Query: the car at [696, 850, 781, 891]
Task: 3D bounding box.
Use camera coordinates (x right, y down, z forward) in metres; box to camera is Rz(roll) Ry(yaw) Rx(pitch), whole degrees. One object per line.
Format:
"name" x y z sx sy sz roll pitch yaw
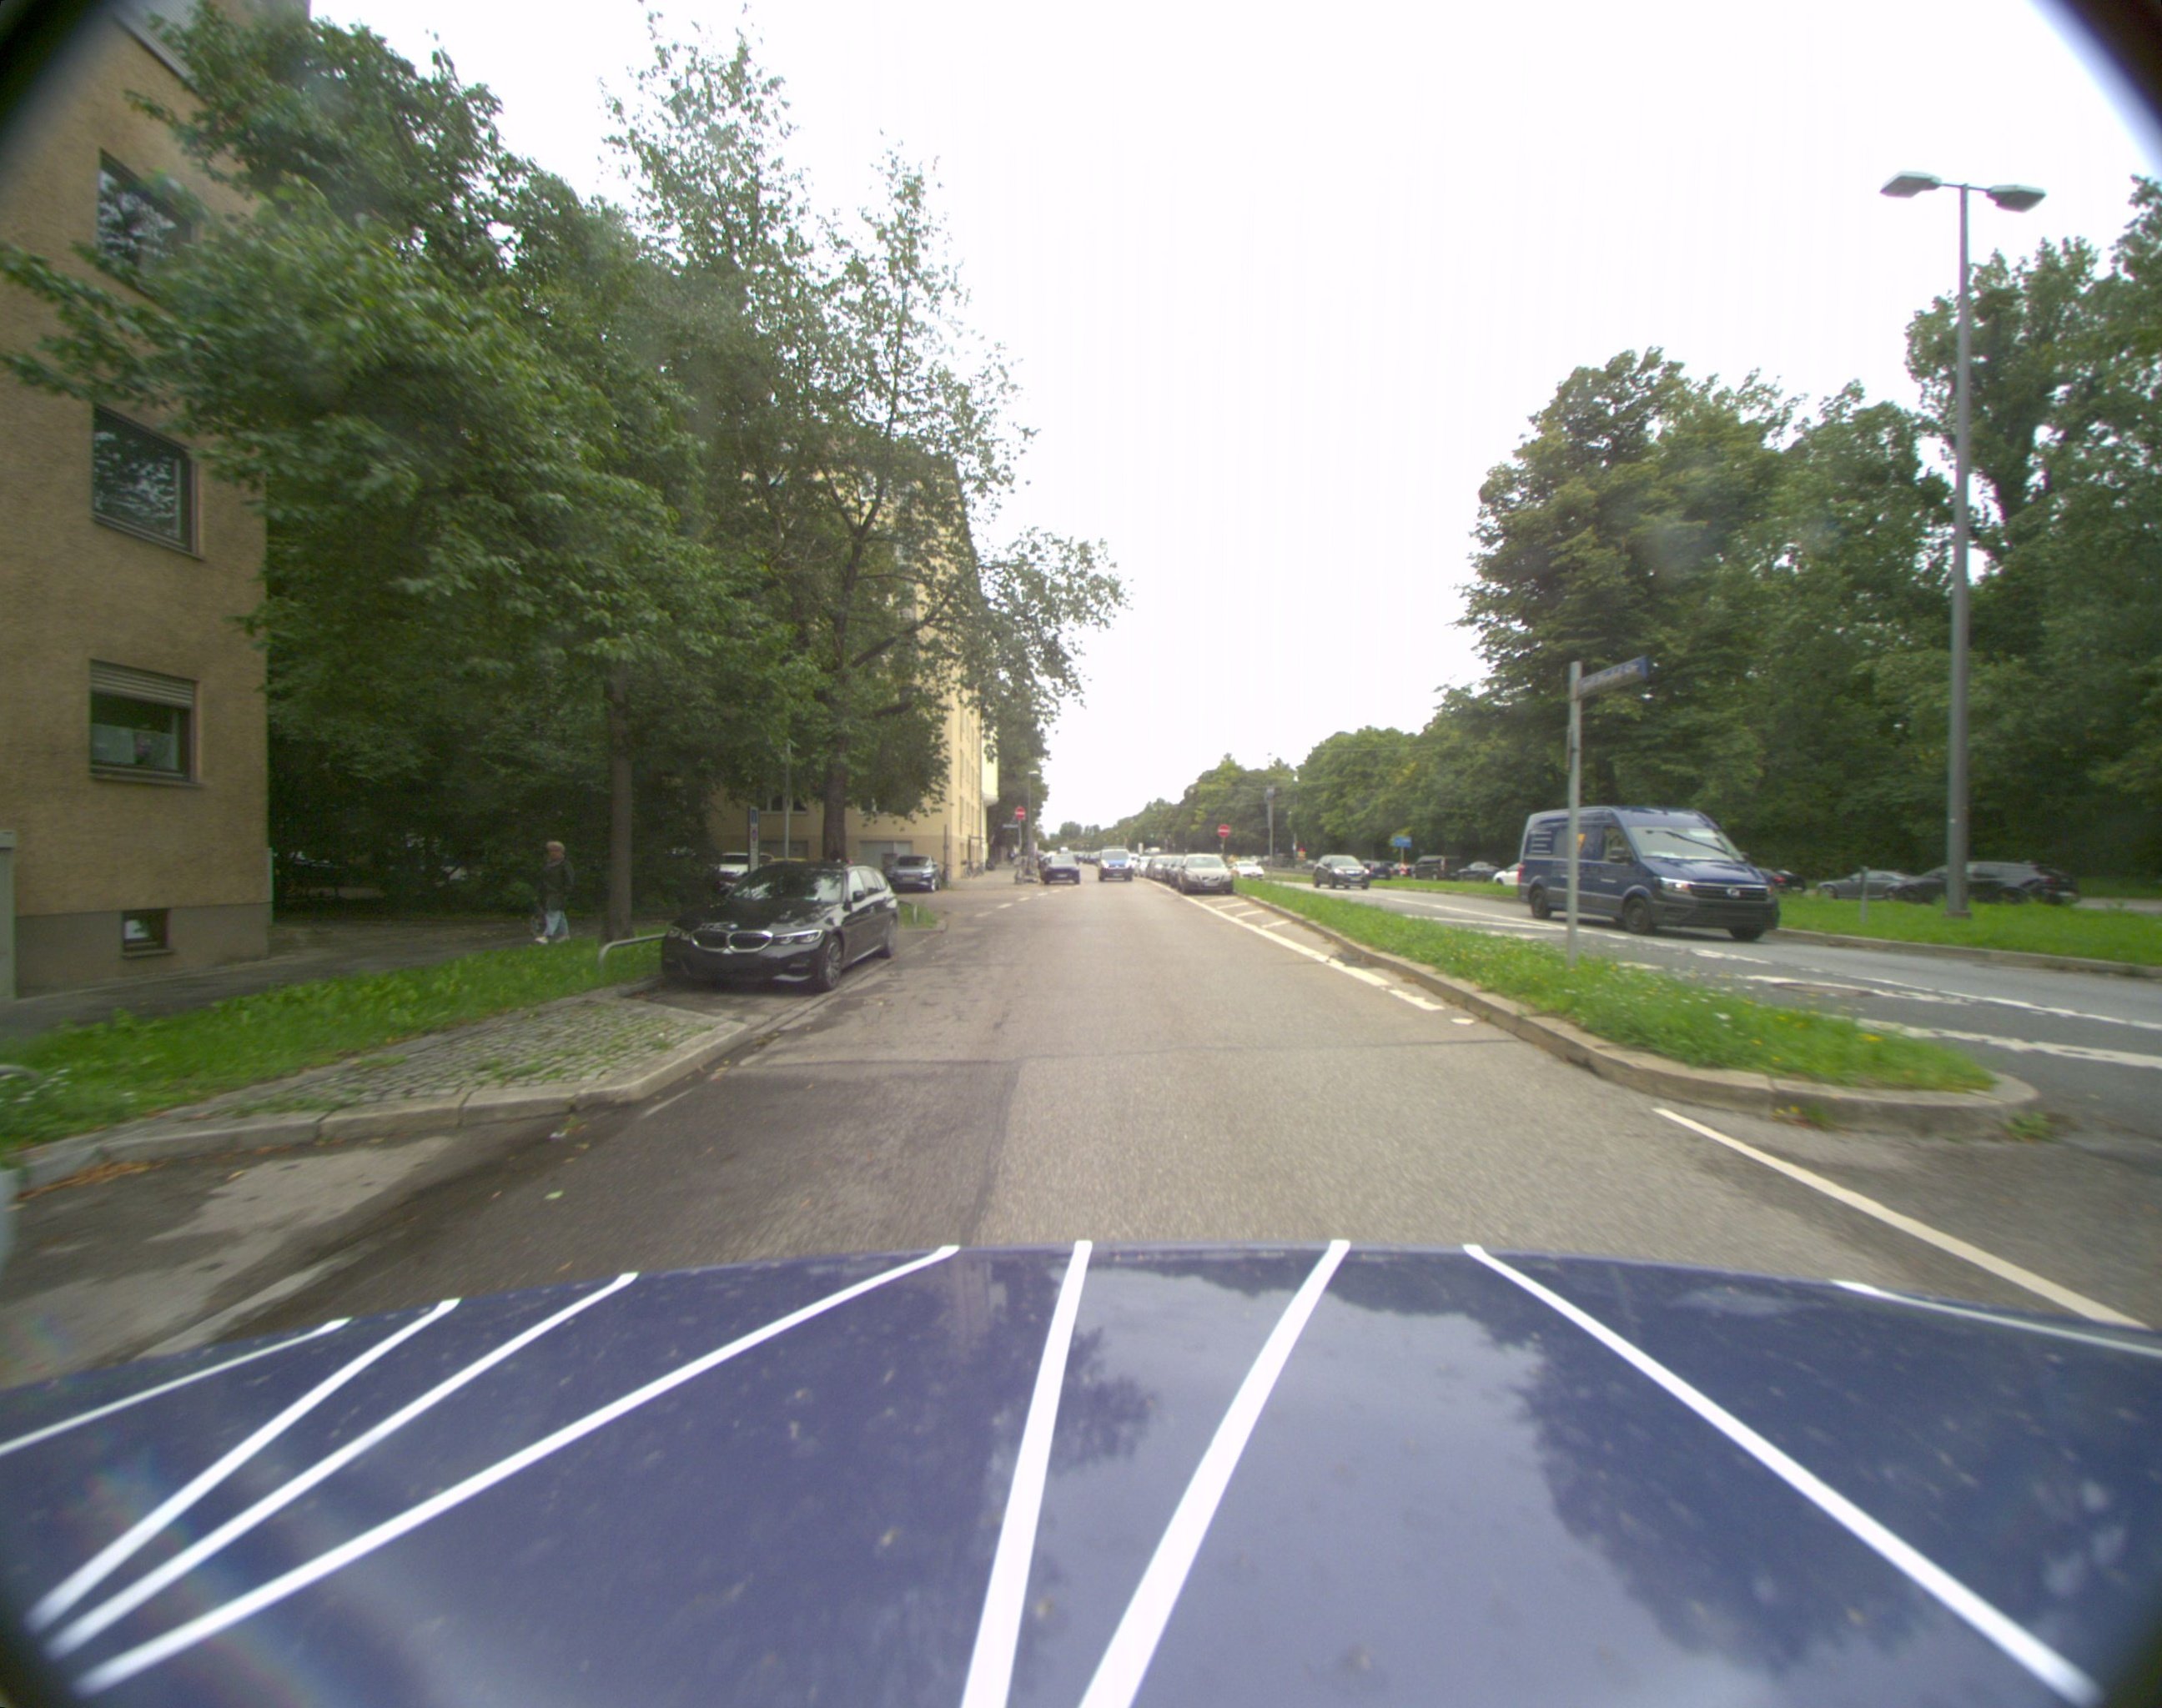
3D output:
"car" -14.171 0.628 31.722 1.917 1.610 4.243 0 0 -4

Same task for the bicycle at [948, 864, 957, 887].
"bicycle" -5.960 0.991 35.189 0.282 1.055 1.238 0 0 -4

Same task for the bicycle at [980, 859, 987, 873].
"bicycle" -6.994 0.836 54.659 0.463 0.998 1.318 0 0 -6

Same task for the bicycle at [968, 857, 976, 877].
"bicycle" -6.519 0.745 45.397 0.364 1.164 1.317 0 0 -12

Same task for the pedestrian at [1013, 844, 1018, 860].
"pedestrian" -8.567 -0.275 99.229 0.458 2.002 0.617 0 1 -19

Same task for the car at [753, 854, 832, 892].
"car" -11.857 0.734 31.547 1.917 1.458 4.243 0 0 -4

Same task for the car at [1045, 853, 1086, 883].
"car" -0.822 0.733 41.958 2.129 1.556 4.506 -1 0 -1

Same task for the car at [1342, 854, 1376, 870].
"car" 28.996 0.816 79.348 1.912 1.549 3.998 0 1 -3

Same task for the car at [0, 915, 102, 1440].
"car" -3.913 0.933 0.488 1.632 1.487 3.820 1 0 0

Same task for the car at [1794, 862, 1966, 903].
"car" 32.126 1.096 30.786 1.999 1.438 4.523 1 0 -5

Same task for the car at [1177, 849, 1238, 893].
"car" 4.797 0.606 29.486 1.903 1.556 4.772 0 0 4

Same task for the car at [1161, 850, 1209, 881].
"car" 5.440 0.559 40.309 1.992 1.556 4.282 0 0 1

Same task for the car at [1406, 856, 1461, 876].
"car" 29.130 0.982 62.938 1.999 1.526 4.704 1 0 -5

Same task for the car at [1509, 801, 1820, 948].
"car" 11.370 0.284 15.608 2.188 2.450 5.852 0 1 4

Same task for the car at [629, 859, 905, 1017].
"car" -3.722 0.876 9.979 1.796 1.488 4.375 3 0 -1

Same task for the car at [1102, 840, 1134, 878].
"car" 2.290 0.250 45.825 1.856 2.198 4.553 0 1 4

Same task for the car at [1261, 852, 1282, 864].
"car" 27.201 0.523 108.762 1.866 1.736 3.999 0 1 -2

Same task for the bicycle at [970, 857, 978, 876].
"bicycle" -6.654 0.772 47.371 0.401 1.164 1.317 0 0 -12

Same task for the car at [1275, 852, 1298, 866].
"car" 27.611 0.664 101.981 1.885 1.736 3.999 0 1 -2

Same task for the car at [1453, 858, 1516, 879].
"car" 30.015 1.069 56.646 1.999 1.438 4.523 1 0 -5

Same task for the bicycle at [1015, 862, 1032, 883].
"bicycle" -3.001 0.955 39.758 0.632 1.031 1.736 1 0 4

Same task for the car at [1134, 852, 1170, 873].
"car" 5.213 0.601 56.170 1.993 1.447 4.280 0 0 -4

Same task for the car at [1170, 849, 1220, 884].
"car" 5.219 0.533 35.243 1.991 1.556 4.284 0 0 4

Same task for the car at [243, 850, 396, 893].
"car" -30.793 0.657 30.843 1.898 1.594 4.118 1 1 34

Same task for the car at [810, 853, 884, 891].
"car" -9.749 0.720 31.992 2.054 1.458 4.243 0 0 -4

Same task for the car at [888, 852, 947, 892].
"car" -6.755 0.708 31.805 1.825 1.556 4.243 0 0 -4

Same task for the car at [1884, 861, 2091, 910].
"car" 29.900 0.980 25.270 1.897 1.438 4.030 0 0 -7

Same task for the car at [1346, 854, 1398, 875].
"car" 20.879 0.740 54.671 1.897 1.438 4.031 0 0 -5

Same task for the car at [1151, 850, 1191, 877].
"car" 5.288 0.521 45.180 1.992 1.556 4.283 0 0 2

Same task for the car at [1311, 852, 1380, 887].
"car" 12.908 0.701 37.426 1.992 1.618 4.273 0 0 1

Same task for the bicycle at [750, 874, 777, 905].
"bicycle" -9.330 1.030 22.346 0.249 0.875 1.080 0 1 7

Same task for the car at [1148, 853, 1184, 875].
"car" 5.497 0.651 49.707 1.767 1.362 4.281 0 0 -2

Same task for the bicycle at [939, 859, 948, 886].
"bicycle" -6.381 0.849 35.236 0.282 1.224 1.238 0 1 -4

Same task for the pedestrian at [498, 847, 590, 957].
"pedestrian" -8.231 0.706 11.690 0.672 1.614 0.980 0 2 1

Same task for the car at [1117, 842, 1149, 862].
"car" 4.492 -0.155 66.380 2.075 1.692 5.088 0 0 -4

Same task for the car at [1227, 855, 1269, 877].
"car" 12.658 0.901 57.825 1.992 1.556 4.653 0 0 -2

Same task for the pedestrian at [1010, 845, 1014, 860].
"pedestrian" -8.939 -0.208 98.394 0.458 2.002 0.617 0 1 -19

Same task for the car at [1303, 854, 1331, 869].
"car" 28.314 0.880 91.127 1.999 1.736 3.999 0 1 -2

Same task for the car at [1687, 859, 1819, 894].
"car" 31.671 1.015 36.000 1.999 1.438 4.523 1 0 -5

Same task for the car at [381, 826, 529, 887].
"car" -25.079 0.086 30.649 1.899 2.300 4.187 0 1 21

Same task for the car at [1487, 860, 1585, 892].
"car" 22.393 1.046 37.569 1.833 1.438 4.232 1 0 -9

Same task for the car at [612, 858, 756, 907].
"car" -12.712 0.888 24.466 3.706 1.488 1.733 0 1 0
